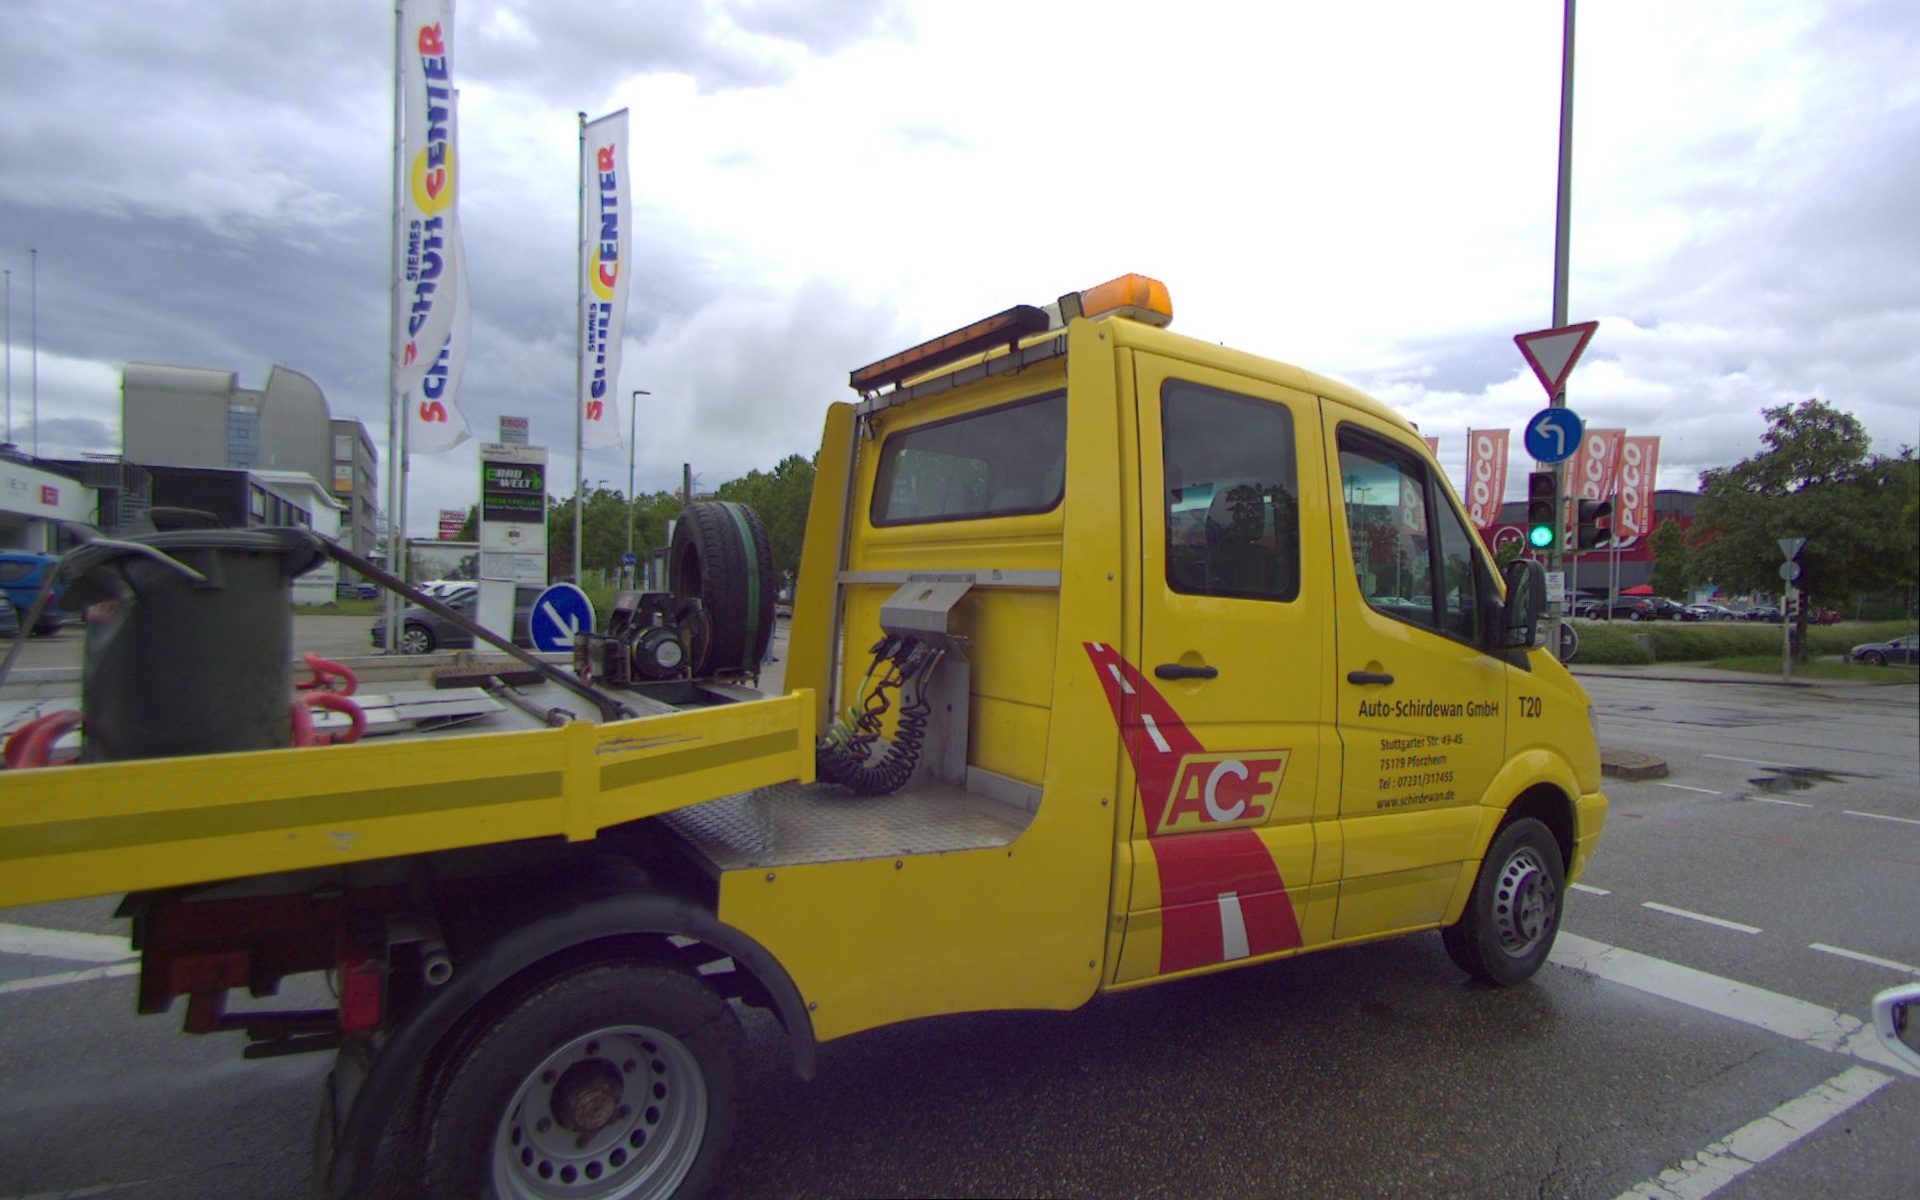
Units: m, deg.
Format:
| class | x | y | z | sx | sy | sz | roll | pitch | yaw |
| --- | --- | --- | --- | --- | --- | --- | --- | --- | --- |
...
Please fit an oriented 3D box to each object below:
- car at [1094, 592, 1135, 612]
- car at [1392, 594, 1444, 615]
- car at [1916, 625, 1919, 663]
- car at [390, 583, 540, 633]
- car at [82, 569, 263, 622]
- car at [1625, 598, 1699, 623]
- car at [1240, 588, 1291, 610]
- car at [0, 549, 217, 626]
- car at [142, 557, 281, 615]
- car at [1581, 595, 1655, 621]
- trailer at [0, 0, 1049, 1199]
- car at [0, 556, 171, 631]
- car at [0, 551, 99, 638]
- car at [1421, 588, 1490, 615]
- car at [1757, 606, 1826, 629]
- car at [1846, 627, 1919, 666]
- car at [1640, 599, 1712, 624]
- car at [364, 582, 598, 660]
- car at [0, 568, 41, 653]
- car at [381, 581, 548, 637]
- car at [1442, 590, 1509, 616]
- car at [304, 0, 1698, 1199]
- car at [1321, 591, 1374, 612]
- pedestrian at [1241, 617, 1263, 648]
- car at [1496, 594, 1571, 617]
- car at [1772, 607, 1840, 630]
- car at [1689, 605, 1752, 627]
| class | x | y | z | sx | sy | sz | roll | pitch | yaw |
| --- | --- | --- | --- | --- | --- | --- | --- | --- | --- |
| car | 14.135 | 0.180 | 92.110 | 1.676 | 1.667 | 3.934 | 2 | -1 | -28 |
| car | 39.368 | 0.384 | 86.392 | 1.652 | 1.667 | 3.934 | 2 | -1 | -28 |
| car | 45.705 | 2.043 | 45.199 | 1.669 | 1.747 | 3.624 | 2 | -1 | -36 |
| car | -15.458 | 0.258 | 31.523 | 4.074 | 1.412 | 1.811 | 2 | -1 | -27 |
| car | -25.696 | -0.120 | 32.987 | 4.319 | 1.518 | 1.884 | 2 | -1 | -27 |
| car | 48.111 | 0.704 | 68.918 | 1.652 | 1.667 | 3.799 | 2 | -1 | -28 |
| car | 24.694 | -0.095 | 81.390 | 1.652 | 1.667 | 3.934 | 2 | -1 | -28 |
| car | -23.875 | -0.315 | 28.381 | 4.319 | 1.931 | 1.884 | 2 | -1 | -27 |
| car | -29.005 | -0.502 | 39.083 | 3.944 | 2.040 | 1.900 | 2 | -1 | -24 |
| car | 43.664 | 0.527 | 66.763 | 1.652 | 1.667 | 3.799 | 2 | -1 | -28 |
| trailer | -3.747 | 0.079 | 1.264 | 7.884 | 2.506 | 2.291 | 3 | -1 | -32 |
| car | -23.200 | -0.165 | 25.743 | 4.319 | 1.787 | 1.884 | 2 | -1 | -27 |
| car | -21.174 | -0.156 | 21.074 | 4.319 | 1.787 | 1.884 | 2 | -1 | -27 |
| car | 32.664 | 0.117 | 66.277 | 1.652 | 1.667 | 3.799 | 2 | -1 | -28 |
| car | 64.819 | 1.373 | 78.313 | 1.652 | 1.667 | 3.799 | 2 | -1 | -28 |
| car | 40.543 | 2.002 | 43.039 | 1.669 | 1.573 | 3.624 | 2 | -1 | -36 |
| car | 50.346 | 0.796 | 70.684 | 1.652 | 1.667 | 3.799 | 2 | -1 | -28 |
| car | -9.537 | 0.434 | 20.307 | 4.069 | 1.412 | 1.813 | 2 | -1 | -23 |
| car | -18.386 | 0.105 | 16.604 | 4.319 | 1.412 | 1.811 | 2 | -1 | -27 |
| car | -13.952 | 0.263 | 28.456 | 4.074 | 1.412 | 1.886 | 2 | -1 | -27 |
| car | 34.967 | 0.214 | 68.160 | 1.612 | 1.667 | 3.799 | 2 | -1 | -28 |
| car | 0.473 | 0.232 | 3.935 | 4.960 | 2.506 | 2.227 | 3 | -1 | -32 |
| car | 32.162 | 0.131 | 83.489 | 1.652 | 1.667 | 3.934 | 2 | -1 | -28 |
| pedestrian | 14.233 | 1.586 | 49.029 | 0.773 | 1.450 | 0.635 | 3 | -1 | -33 |
| car | 36.841 | 0.359 | 64.627 | 1.652 | 1.399 | 3.881 | 2 | -1 | -28 |
| car | 67.163 | 1.468 | 79.759 | 1.652 | 1.667 | 3.799 | 2 | -1 | -28 |
| car | 62.641 | 1.313 | 82.801 | 1.652 | 1.667 | 3.799 | 2 | -1 | -28 |
